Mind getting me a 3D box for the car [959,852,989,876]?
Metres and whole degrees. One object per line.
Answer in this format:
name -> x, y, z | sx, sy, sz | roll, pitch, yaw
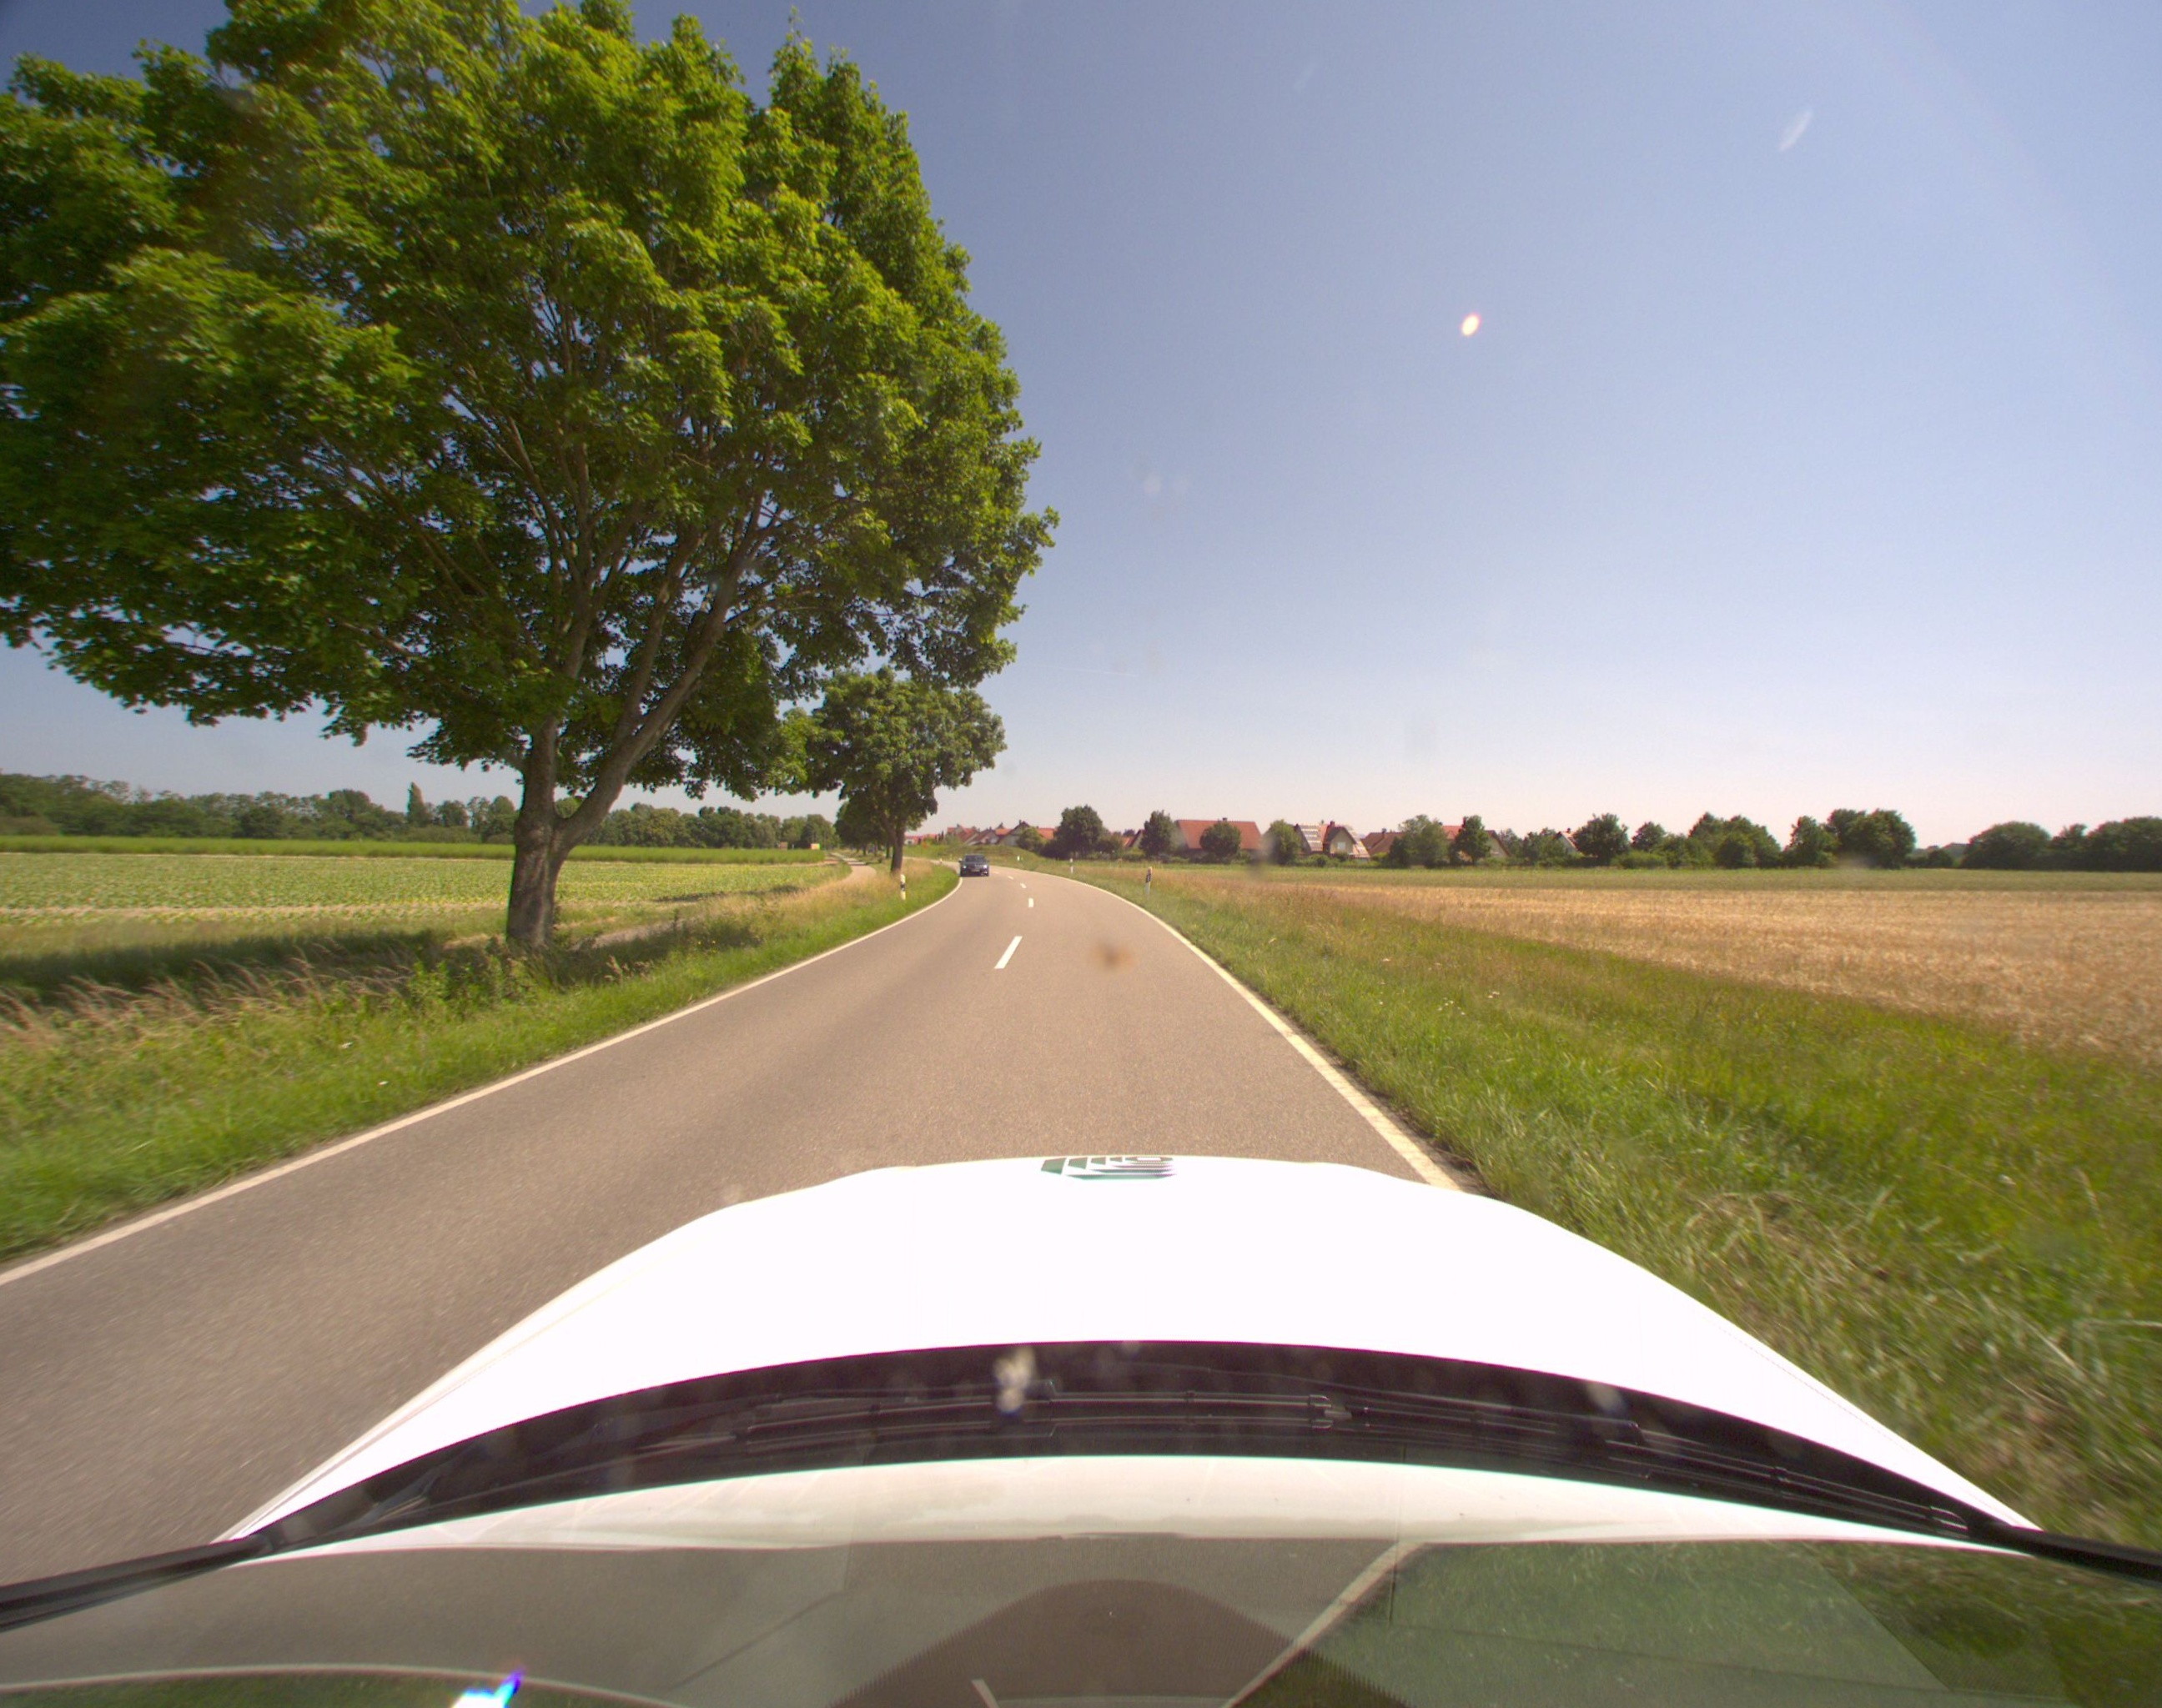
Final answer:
car -> -6.942, 0.610, 52.773 | 1.644, 1.429, 4.164 | -2, 0, -11
